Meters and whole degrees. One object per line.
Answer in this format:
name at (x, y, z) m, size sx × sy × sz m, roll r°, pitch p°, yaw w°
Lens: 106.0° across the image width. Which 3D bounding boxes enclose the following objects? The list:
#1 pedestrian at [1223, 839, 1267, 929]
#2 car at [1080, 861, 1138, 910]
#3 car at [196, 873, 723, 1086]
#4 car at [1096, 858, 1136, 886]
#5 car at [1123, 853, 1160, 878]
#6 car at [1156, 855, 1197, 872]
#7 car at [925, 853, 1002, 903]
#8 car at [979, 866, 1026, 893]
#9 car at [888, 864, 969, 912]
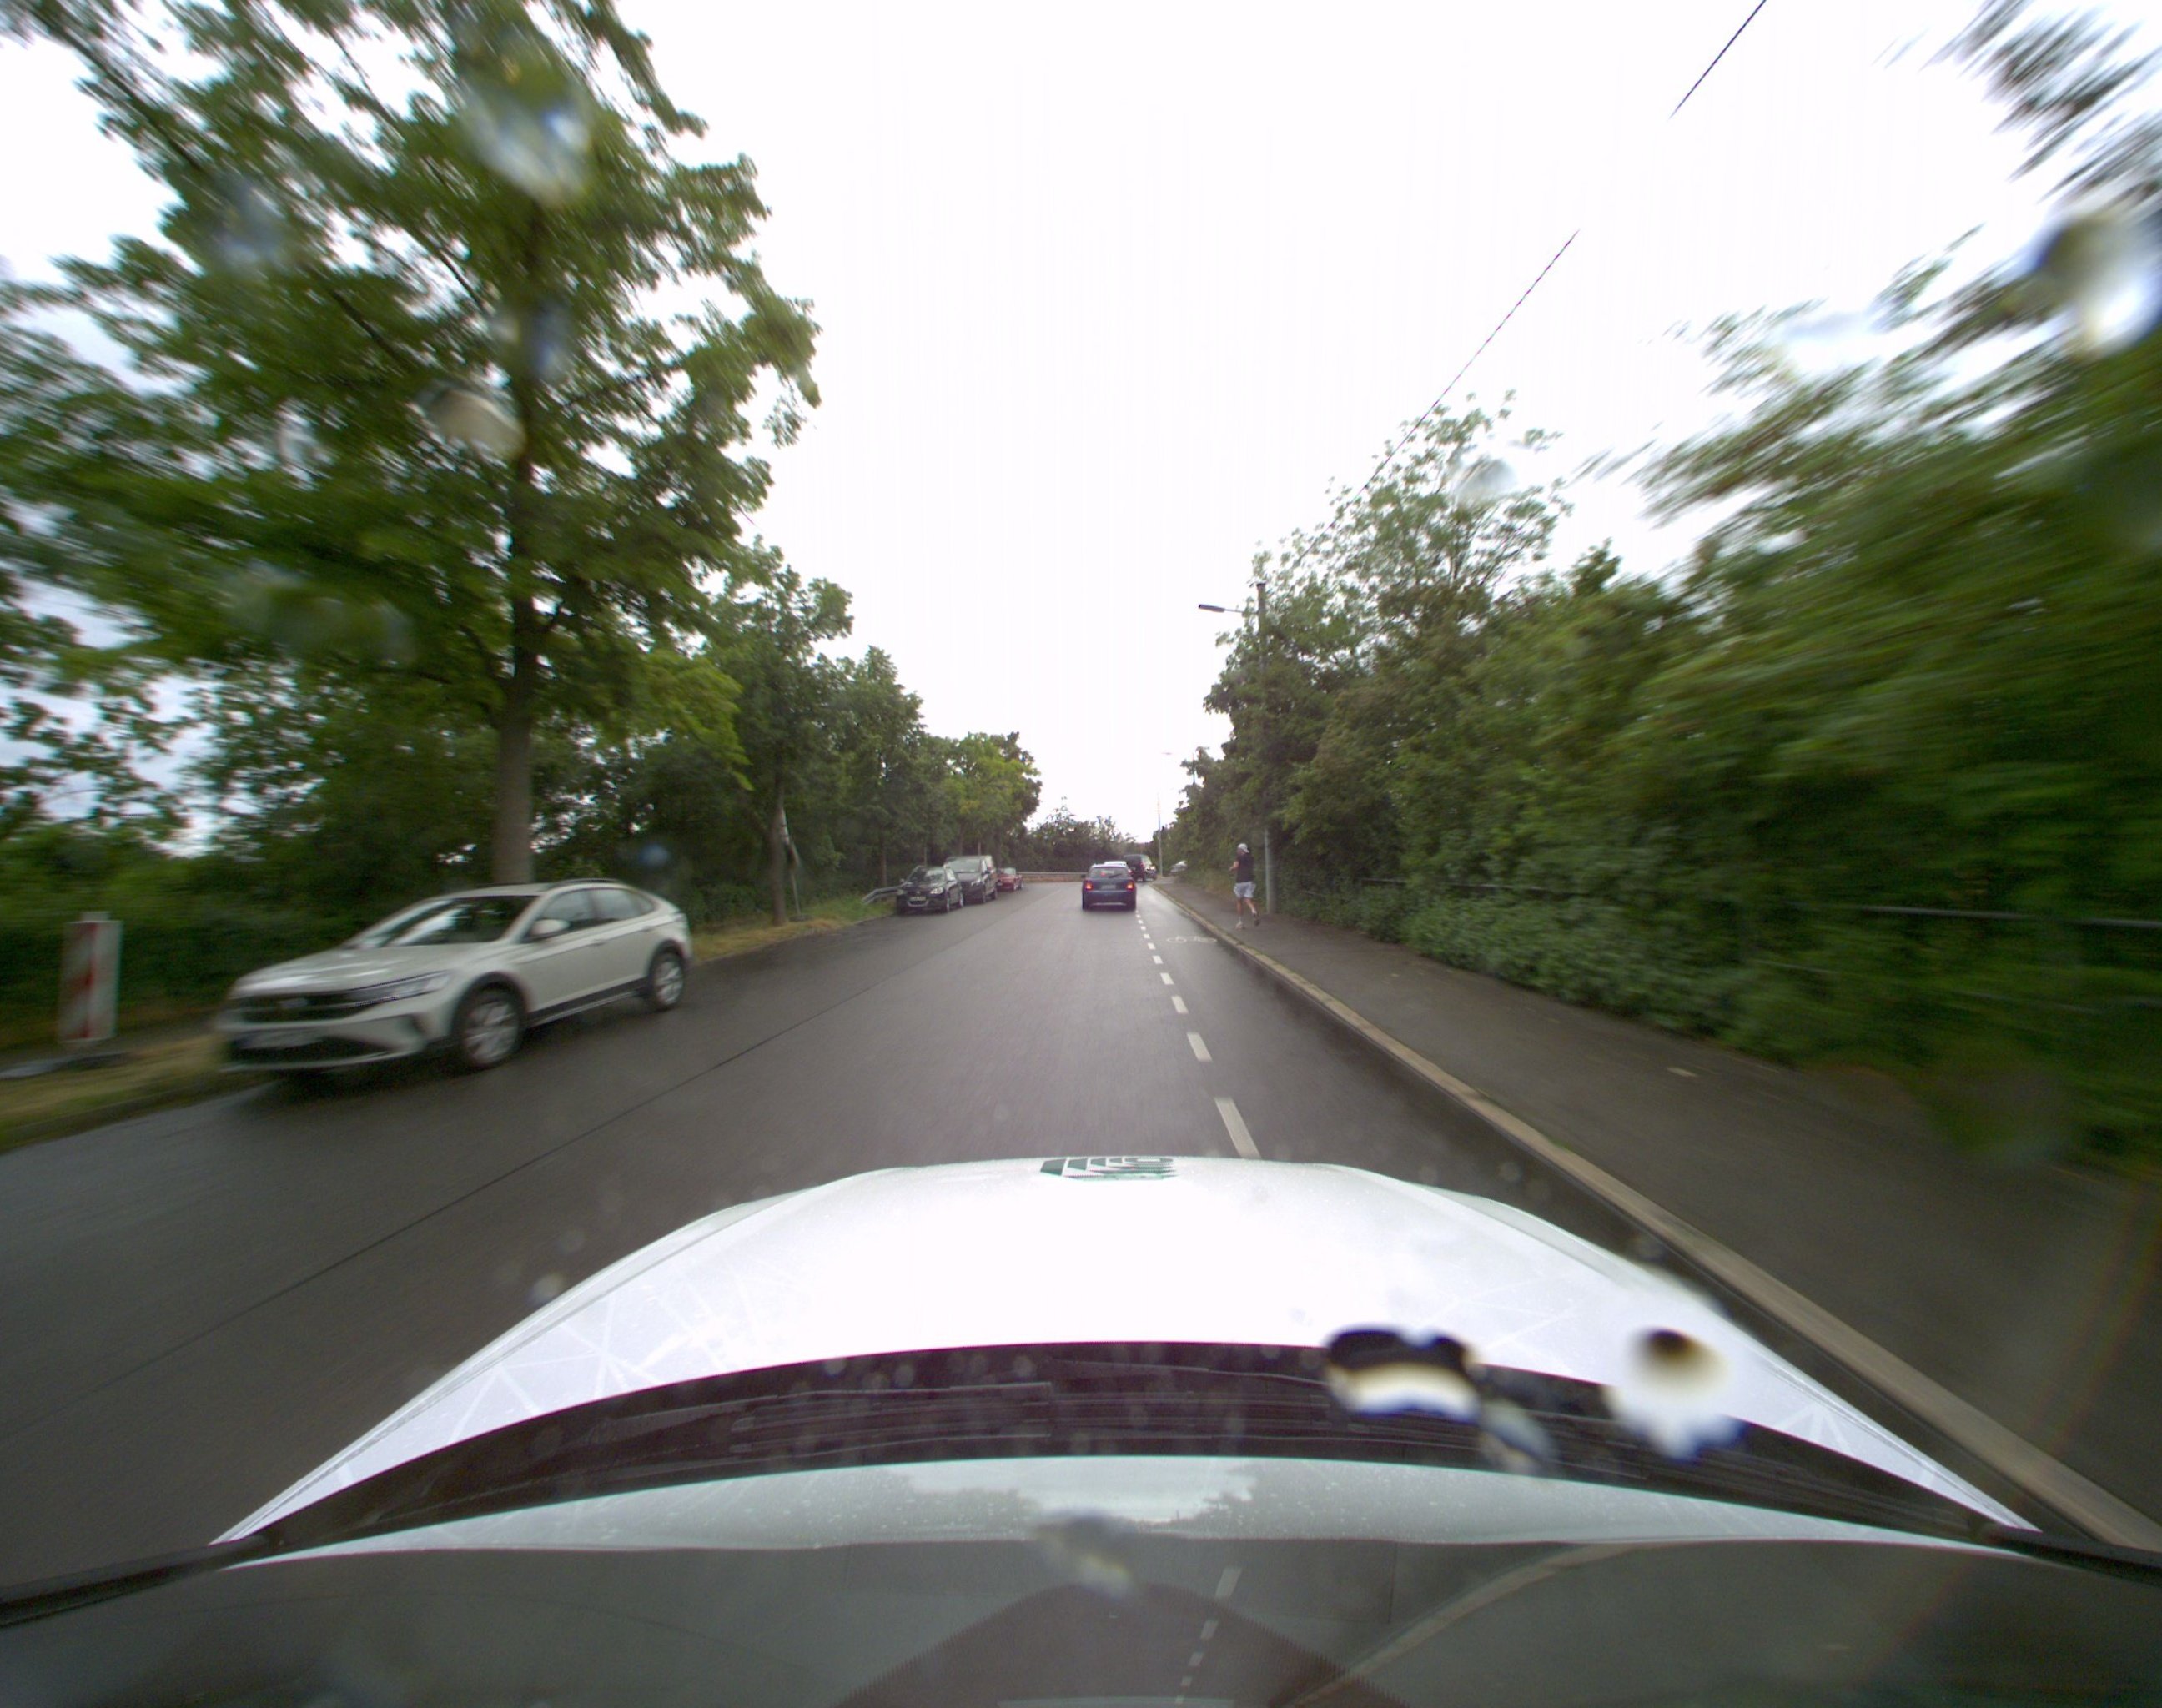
pedestrian at (3.524, 0.629, 17.588) m, size 0.713 × 1.835 × 1.022 m, roll -3°, pitch -1°, yaw 4°
car at (0.937, 0.996, 27.056) m, size 1.740 × 1.407 × 4.002 m, roll -1°, pitch 0°, yaw 2°
car at (-5.471, 0.966, 8.047) m, size 1.681 × 1.437 × 4.260 m, roll -3°, pitch -1°, yaw 4°
car at (1.916, 0.948, 43.357) m, size 1.882 × 1.389 × 4.005 m, roll -2°, pitch -1°, yaw 5°
car at (4.225, 0.777, 56.270) m, size 1.808 × 1.617 × 3.801 m, roll -3°, pitch -1°, yaw 15°
car at (7.744, 0.748, 65.528) m, size 1.804 × 1.202 × 3.809 m, roll -3°, pitch -1°, yaw 31°
car at (-4.729, 0.935, 33.626) m, size 2.075 × 1.819 × 5.384 m, roll -2°, pitch -1°, yaw 3°
car at (-4.253, 1.358, 44.653) m, size 1.781 × 1.297 × 4.330 m, roll -2°, pitch -1°, yaw 4°
car at (-5.079, 1.106, 27.655) m, size 1.791 × 1.437 × 4.257 m, roll -2°, pitch -1°, yaw 1°
